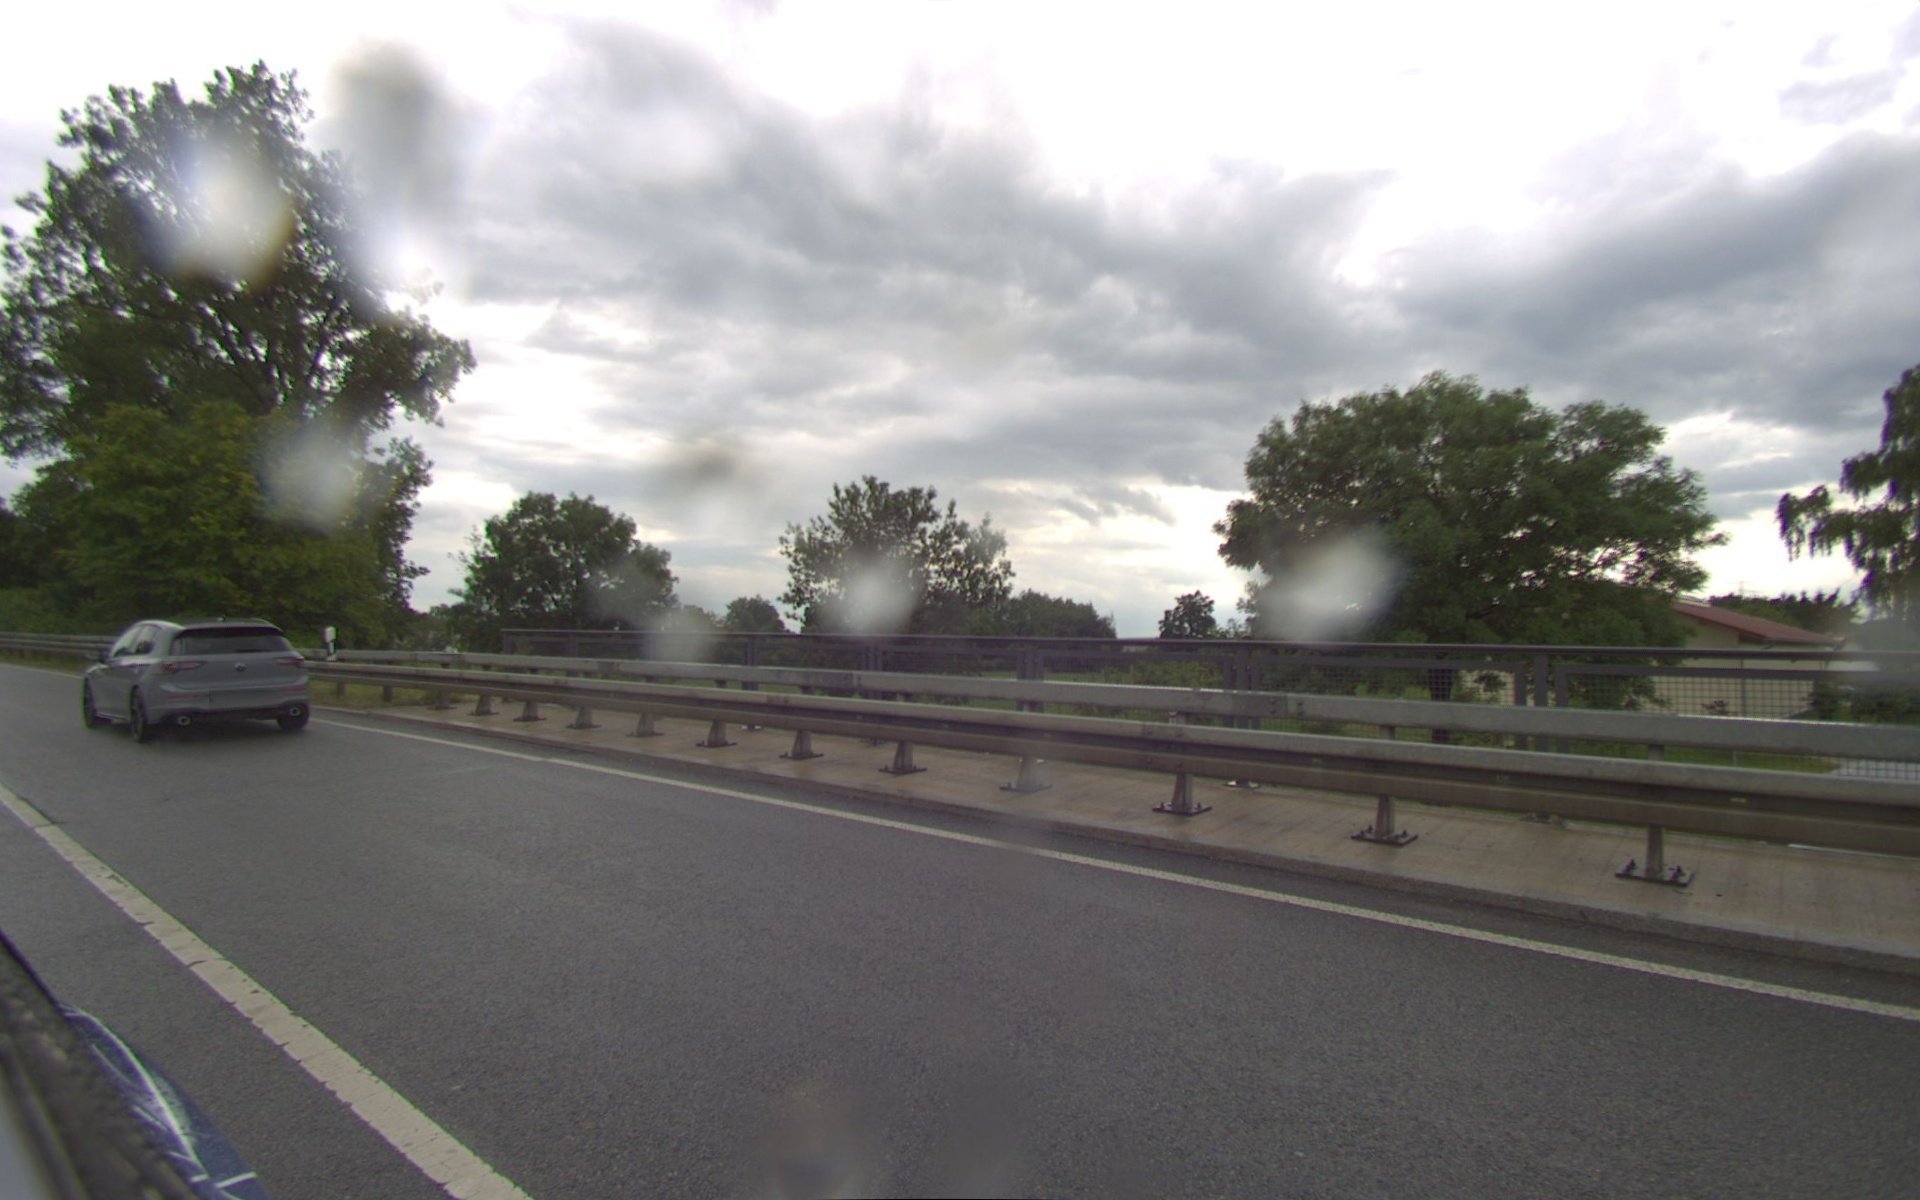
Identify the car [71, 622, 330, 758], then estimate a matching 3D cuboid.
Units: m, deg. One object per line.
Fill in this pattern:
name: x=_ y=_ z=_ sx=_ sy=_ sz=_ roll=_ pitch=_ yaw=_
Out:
car: x=-9.977 y=1.051 z=13.188 sx=4.099 sy=1.454 sz=1.817 roll=-2 pitch=-1 yaw=40
